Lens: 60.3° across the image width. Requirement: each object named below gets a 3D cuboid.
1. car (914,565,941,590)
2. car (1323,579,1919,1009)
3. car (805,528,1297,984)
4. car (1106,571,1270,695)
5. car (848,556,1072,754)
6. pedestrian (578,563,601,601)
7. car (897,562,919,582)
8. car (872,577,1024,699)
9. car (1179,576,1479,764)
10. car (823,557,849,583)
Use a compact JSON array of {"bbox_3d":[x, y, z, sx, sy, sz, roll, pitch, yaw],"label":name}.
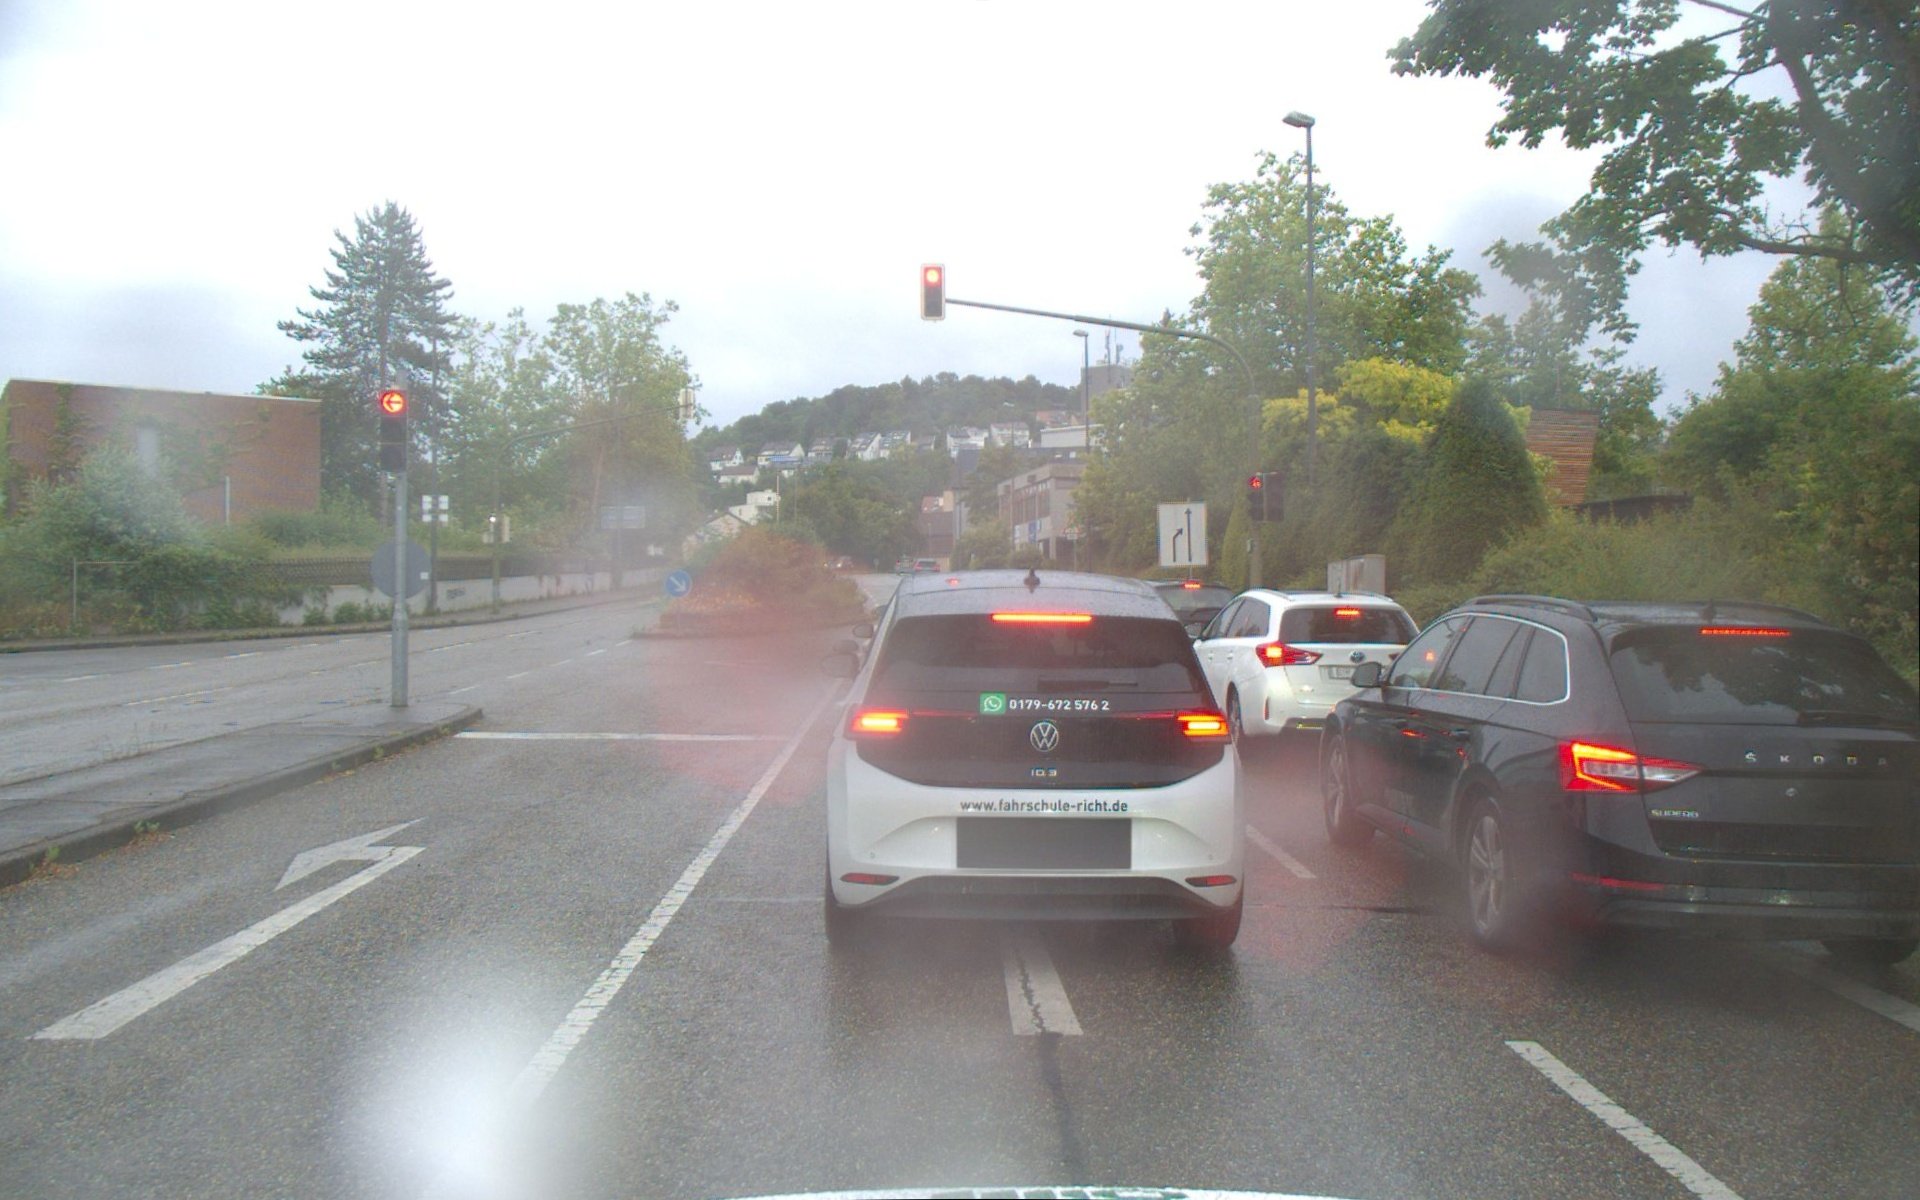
[{"bbox_3d":[-2.190,-1.531,112.234,1.739,1.609,3.999,-2,0,-1],"label":"car"},{"bbox_3d":[3.142,0.669,8.052,1.800,1.492,4.350,1,1,1],"label":"car"},{"bbox_3d":[0.289,0.550,8.468,1.800,1.657,4.614,1,1,-1],"label":"car"},{"bbox_3d":[3.193,0.430,23.852,1.739,1.609,3.999,1,0,-1],"label":"car"},{"bbox_3d":[-0.046,0.422,15.632,1.800,1.582,4.174,1,1,-1],"label":"car"},{"bbox_3d":[-16.009,-0.770,71.509,0.744,1.595,0.825,-2,0,-2],"label":"pedestrian"},{"bbox_3d":[-4.463,-2.381,142.027,1.739,1.609,3.999,-2,0,-1],"label":"car"},{"bbox_3d":[-0.184,0.430,21.837,1.800,1.424,3.830,1,1,-1],"label":"car"},{"bbox_3d":[3.296,0.549,15.610,1.800,1.492,4.116,1,1,-1],"label":"car"},{"bbox_3d":[-10.541,-2.565,140.677,1.953,2.049,3.999,1,-1,-1],"label":"car"}]
